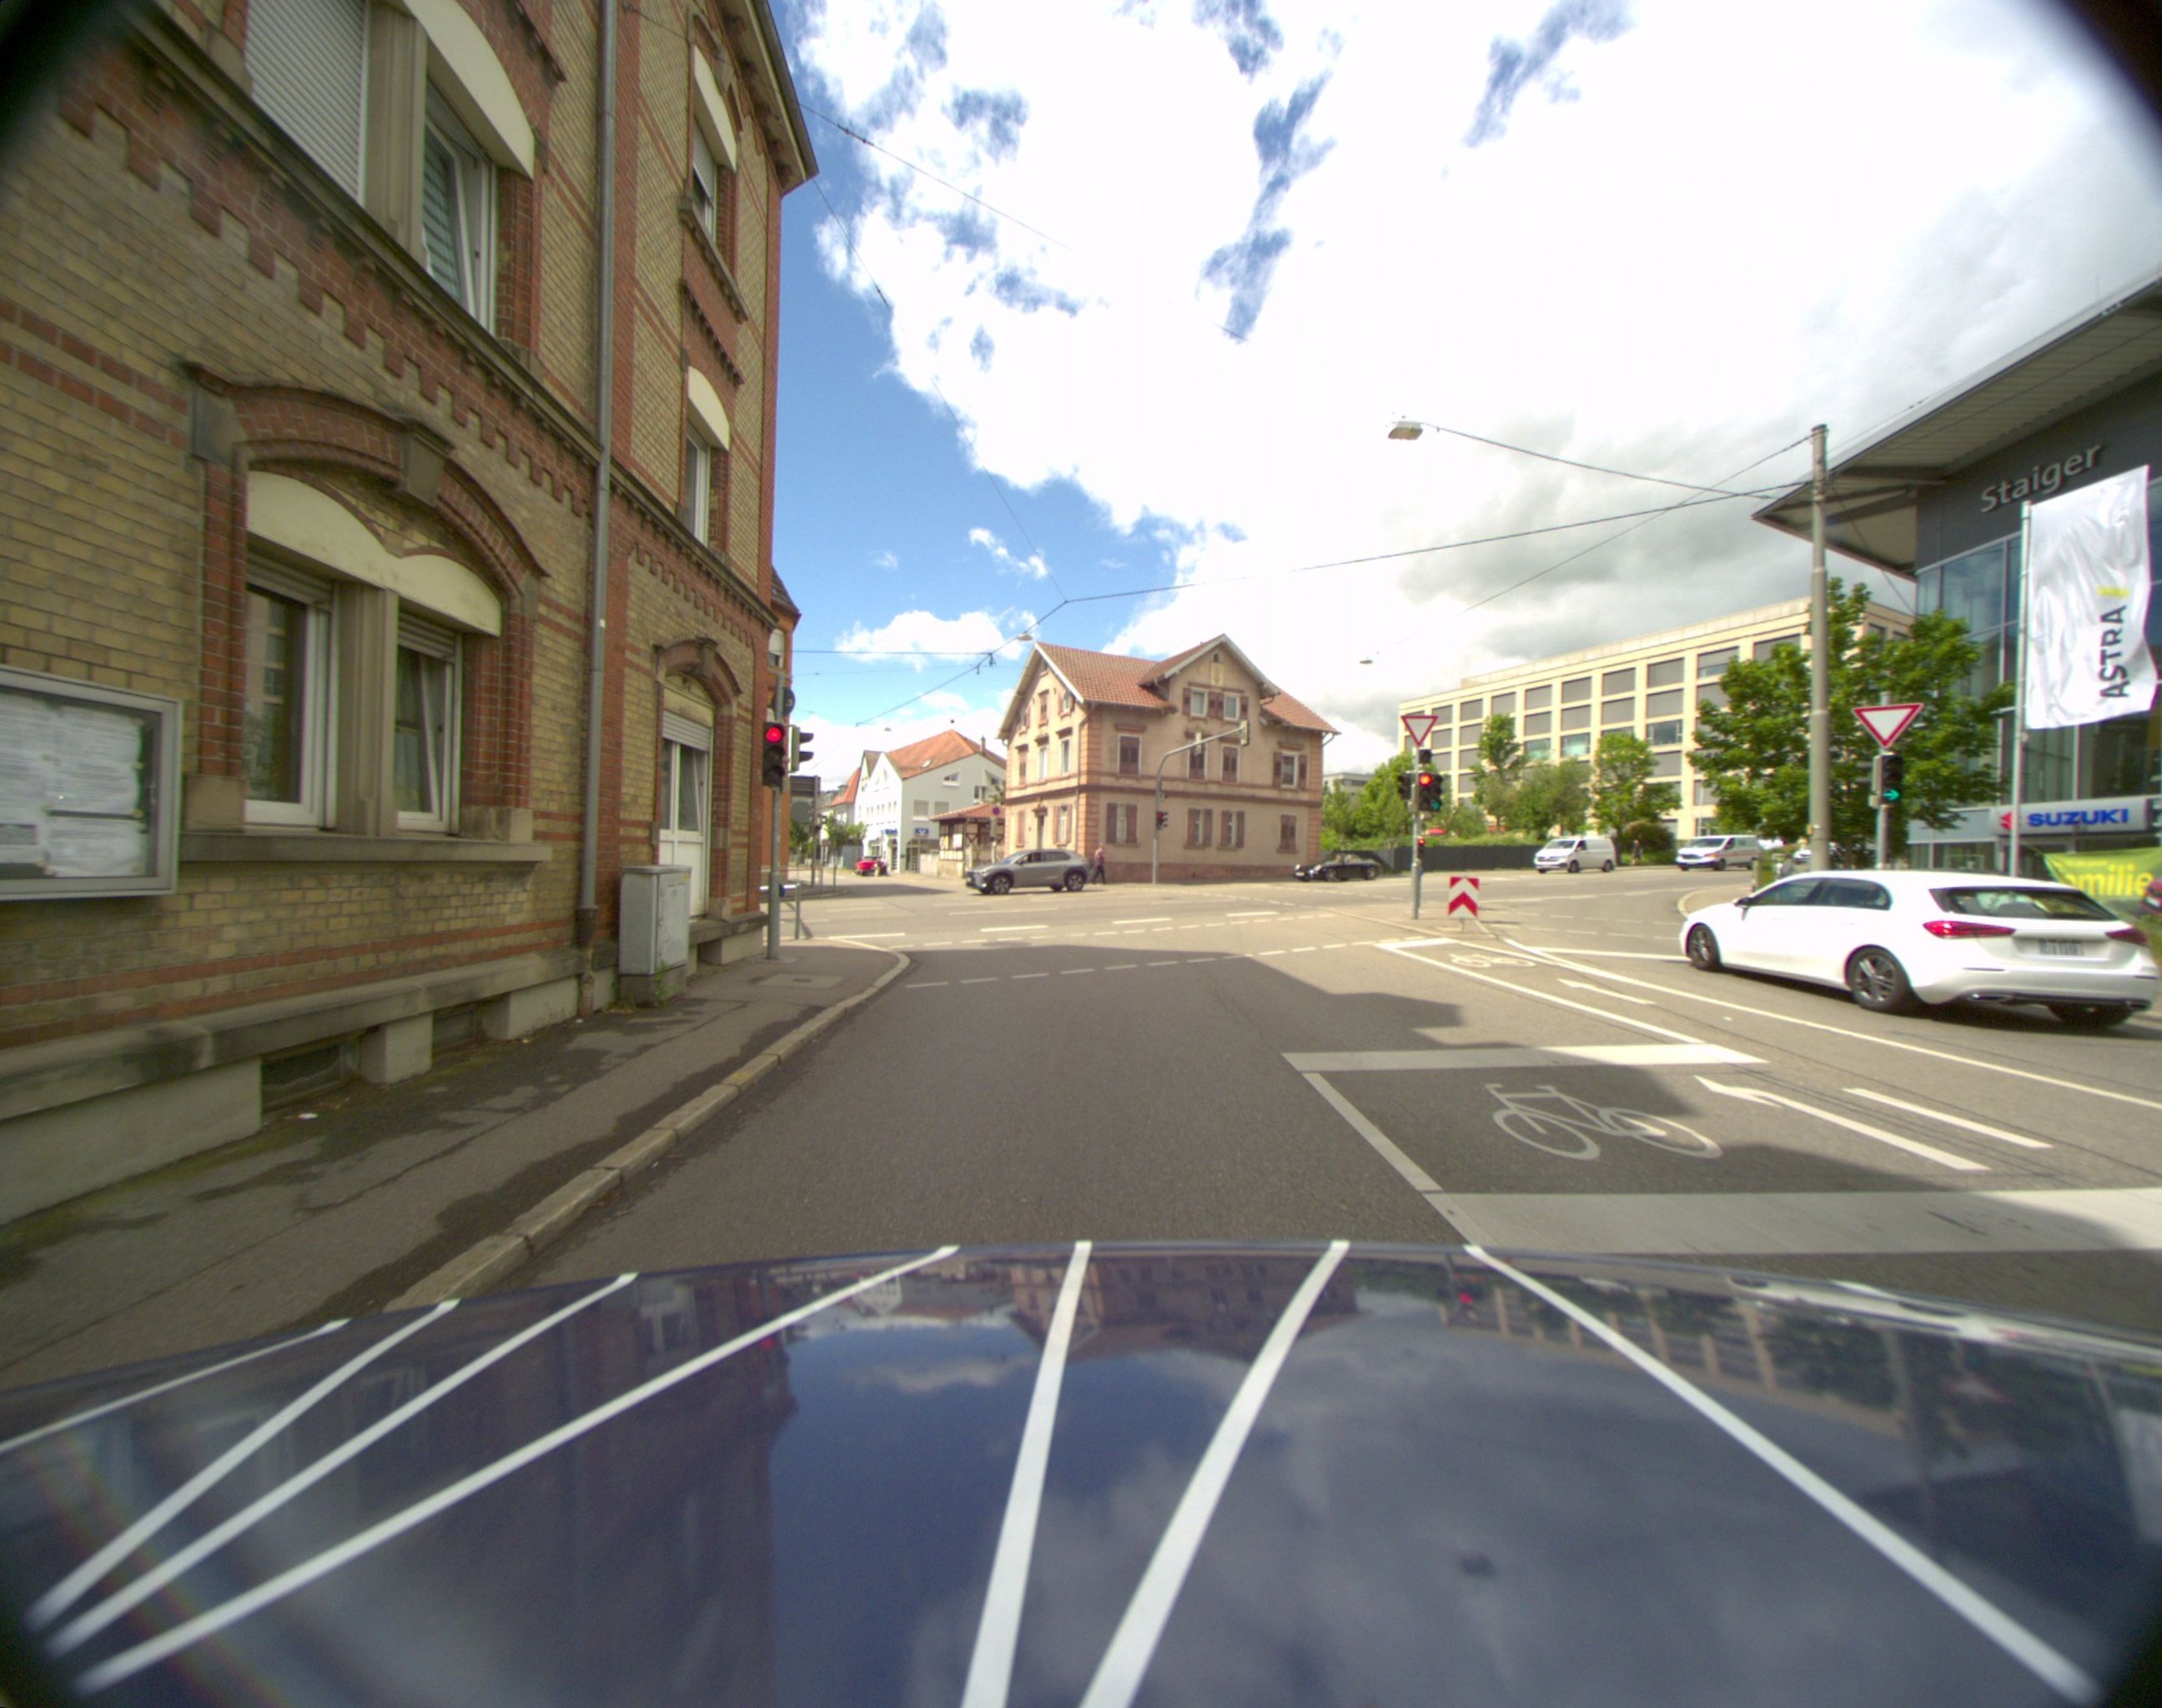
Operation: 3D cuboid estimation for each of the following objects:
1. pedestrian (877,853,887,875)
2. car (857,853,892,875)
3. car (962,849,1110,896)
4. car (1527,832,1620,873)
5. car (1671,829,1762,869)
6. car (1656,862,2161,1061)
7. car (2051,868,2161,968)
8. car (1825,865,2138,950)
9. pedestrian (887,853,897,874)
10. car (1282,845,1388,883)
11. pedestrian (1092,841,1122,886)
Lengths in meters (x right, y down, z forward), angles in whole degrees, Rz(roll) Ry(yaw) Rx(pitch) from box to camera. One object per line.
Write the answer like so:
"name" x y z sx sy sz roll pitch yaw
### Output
"pedestrian" -14.680 0.701 56.088 0.568 1.587 0.763 -2 1 -8
"car" -15.875 0.714 58.358 2.002 1.532 3.992 -3 1 -23
"car" -1.638 0.629 28.120 5.105 1.569 1.996 -1 0 -27
"car" 27.095 -0.099 41.777 4.822 2.000 1.996 -3 1 -25
"car" 34.983 -0.290 41.811 4.996 1.981 1.996 -2 1 -27
"car" 8.761 0.923 8.606 1.721 1.488 4.466 2 1 11
"car" 18.475 1.064 11.598 1.947 1.554 4.306 -1 1 3
"car" 18.752 1.030 16.212 1.946 1.465 4.308 -1 1 9
"pedestrian" -13.949 0.696 56.157 0.613 1.587 0.723 -3 1 -14
"car" 11.423 0.412 34.160 4.336 1.458 1.996 -3 1 -26
"pedestrian" 1.105 0.387 32.618 1.048 1.854 0.723 -3 1 -13
